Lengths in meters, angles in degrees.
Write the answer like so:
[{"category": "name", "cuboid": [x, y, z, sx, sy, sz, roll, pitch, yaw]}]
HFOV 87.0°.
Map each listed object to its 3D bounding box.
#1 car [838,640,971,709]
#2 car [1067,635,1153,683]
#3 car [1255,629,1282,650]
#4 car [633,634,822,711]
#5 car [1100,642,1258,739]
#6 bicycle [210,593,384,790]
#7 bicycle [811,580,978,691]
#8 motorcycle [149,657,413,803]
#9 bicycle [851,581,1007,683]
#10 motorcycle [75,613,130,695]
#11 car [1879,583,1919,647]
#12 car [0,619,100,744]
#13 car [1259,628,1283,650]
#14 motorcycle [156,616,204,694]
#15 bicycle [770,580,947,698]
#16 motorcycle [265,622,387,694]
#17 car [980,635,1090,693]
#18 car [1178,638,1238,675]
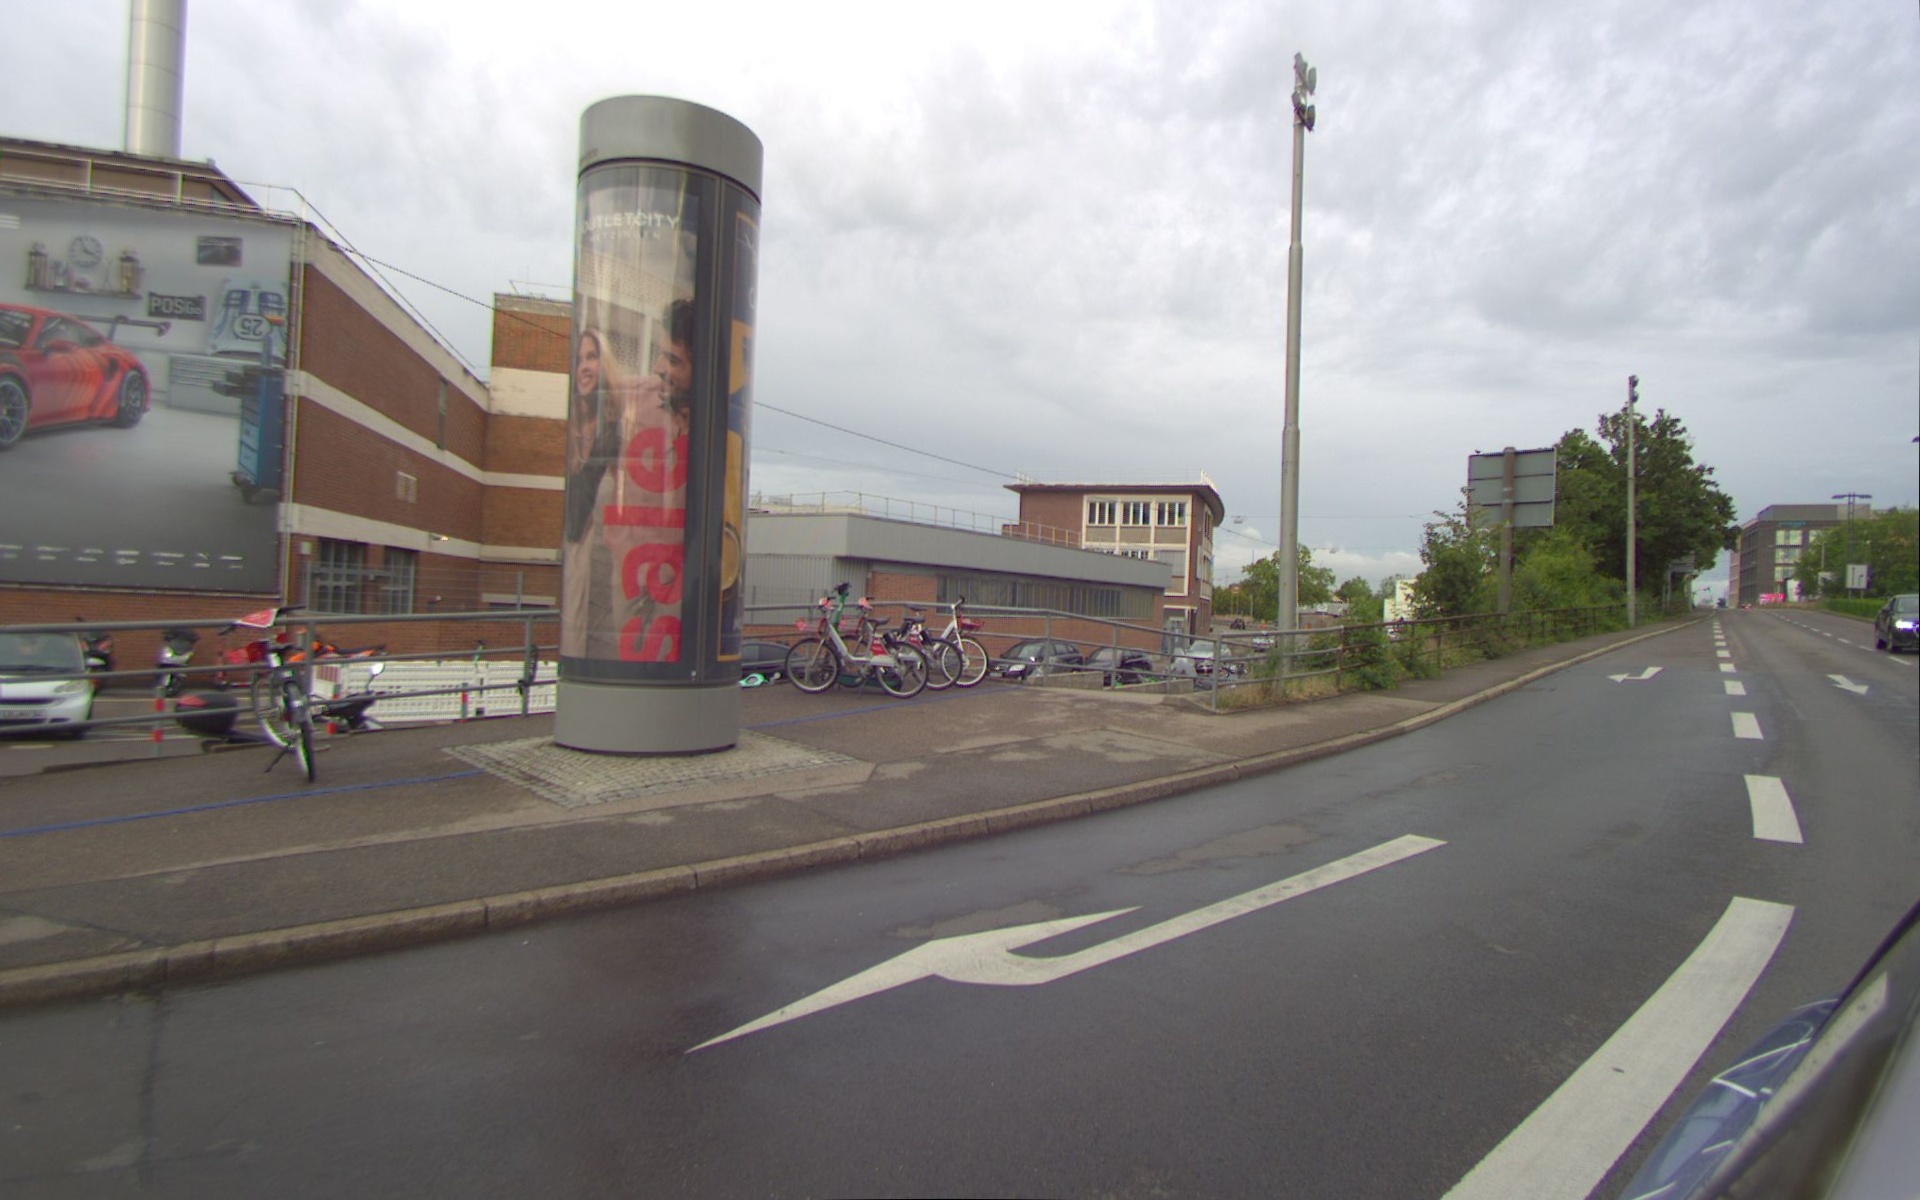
[{"category": "car", "cuboid": [-1.529, 2.059, 28.981, 1.694, 1.648, 3.878, 1, 1, 37]}, {"category": "car", "cuboid": [5.820, 2.214, 38.949, 1.694, 1.574, 3.805, 1, 1, 37]}, {"category": "car", "cuboid": [23.380, 2.956, 76.649, 1.648, 1.413, 3.971, 0, 0, 21]}, {"category": "car", "cuboid": [-5.361, 1.650, 23.792, 1.694, 1.630, 4.204, -1, -3, 37]}, {"category": "car", "cuboid": [4.501, 1.726, 20.403, 1.694, 1.574, 3.805, 1, 1, 37]}, {"category": "bicycle", "cuboid": [-4.758, 0.575, 7.213, 1.799, 1.176, 0.583, 3, 2, 41]}, {"category": "bicycle", "cuboid": [-0.769, 0.402, 12.116, 1.900, 1.239, 0.598, 1, 1, 8]}, {"category": "motorcycle", "cuboid": [-5.712, 1.042, 8.601, 0.696, 1.002, 1.726, 1, 0, 38]}, {"category": "bicycle", "cuboid": [-0.399, 0.382, 12.946, 1.910, 1.192, 0.595, 2, 1, 23]}, {"category": "motorcycle", "cuboid": [-16.208, 0.988, 19.159, 0.675, 1.325, 2.022, 3, 2, -38]}, {"category": "car", "cuboid": [25.951, 0.379, 26.780, 1.830, 1.603, 4.235, 1, 1, 35]}, {"category": "car", "cuboid": [-13.911, 1.128, 14.997, 1.663, 1.500, 3.557, 4, -1, -40]}, {"category": "car", "cuboid": [24.876, 3.121, 80.901, 1.724, 1.544, 4.426, 0, 1, 18]}, {"category": "motorcycle", "cuboid": [-15.245, 1.044, 19.815, 0.562, 1.325, 1.873, 3, 2, -34]}, {"category": "bicycle", "cuboid": [-1.143, 0.416, 11.486, 1.901, 1.239, 0.598, 2, 1, 10]}, {"category": "motorcycle", "cuboid": [-13.005, 1.187, 20.830, 1.943, 1.325, 0.932, 3, 1, -24]}, {"category": "car", "cuboid": [2.601, 2.103, 34.219, 1.629, 1.652, 4.371, 1, 1, 37]}, {"category": "car", "cuboid": [12.413, 2.792, 50.584, 1.692, 1.574, 3.809, 1, 1, 35]}]
